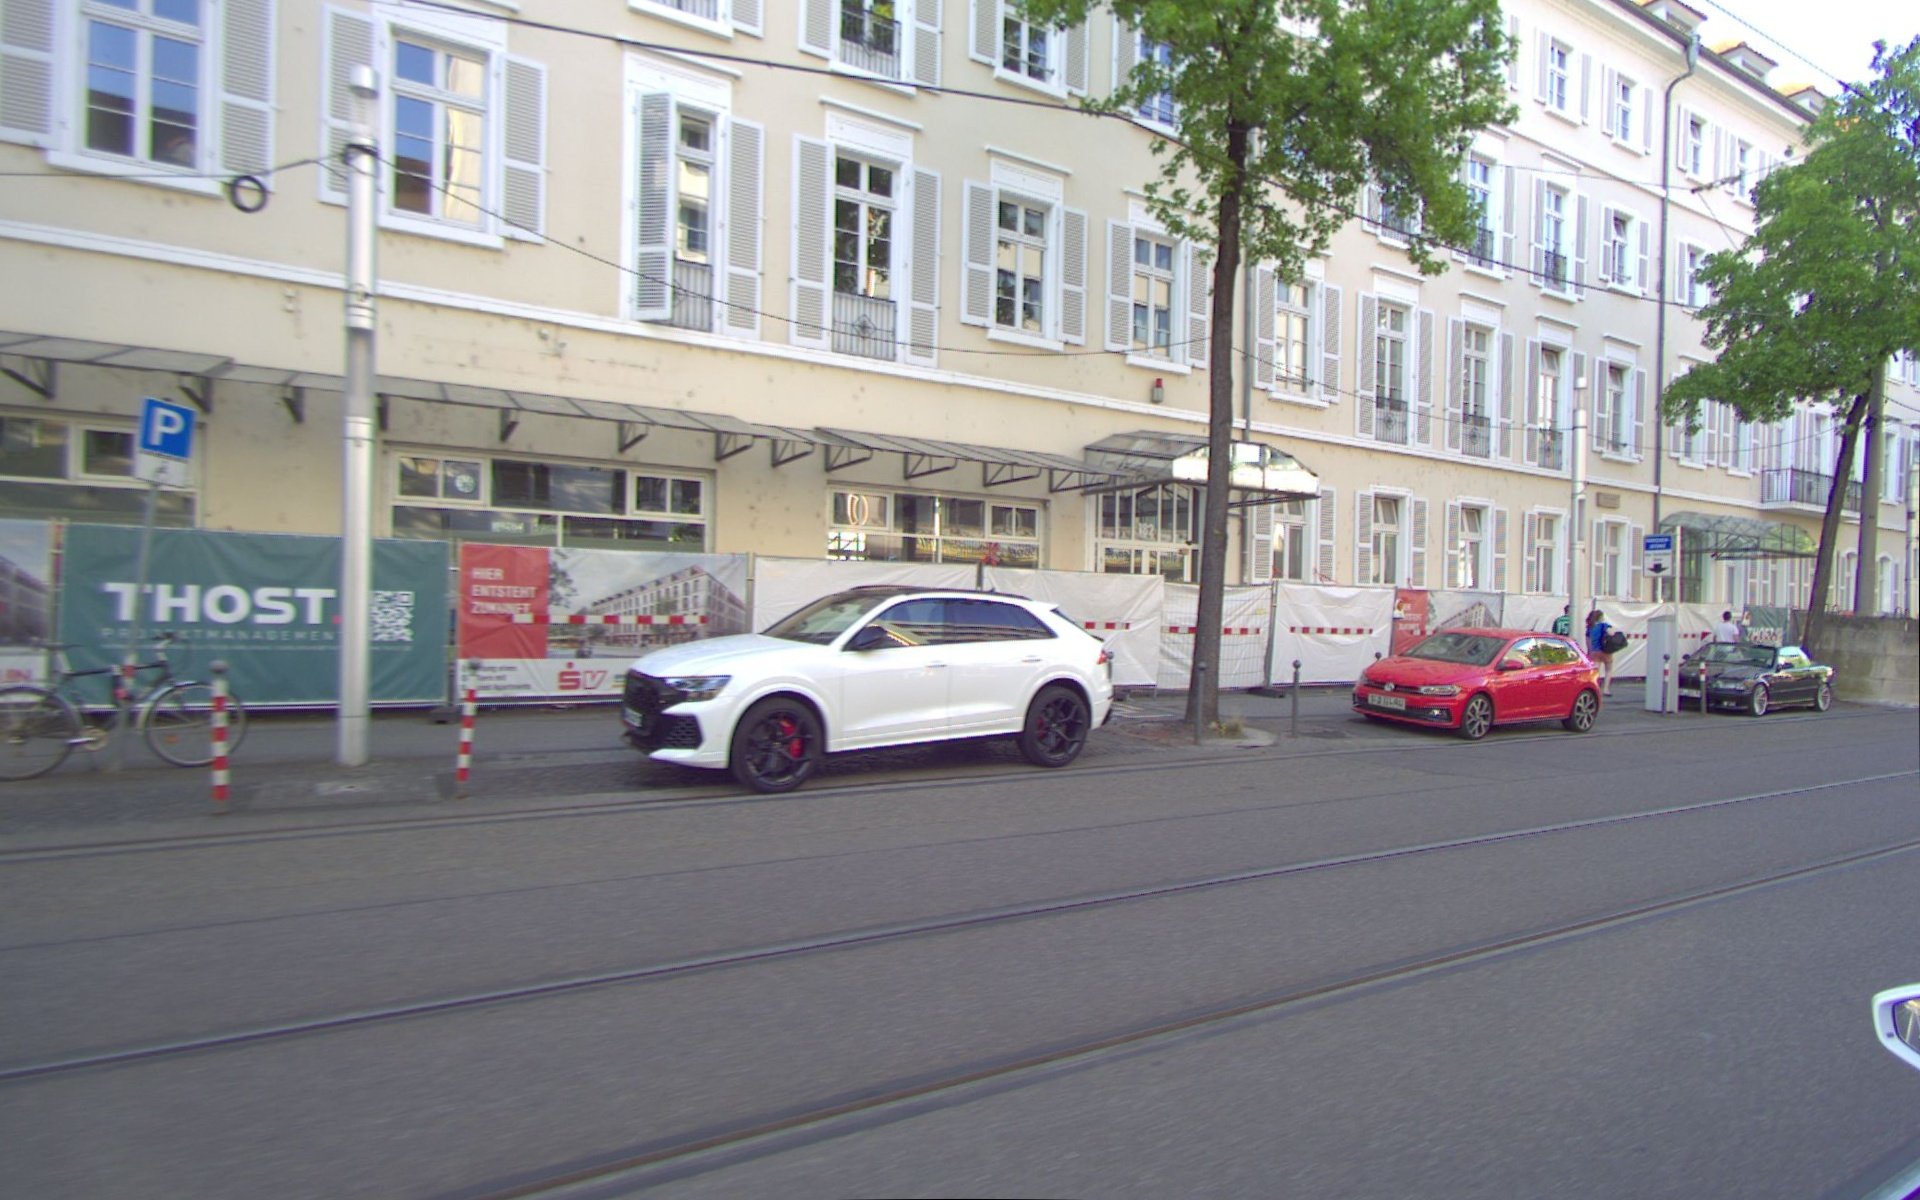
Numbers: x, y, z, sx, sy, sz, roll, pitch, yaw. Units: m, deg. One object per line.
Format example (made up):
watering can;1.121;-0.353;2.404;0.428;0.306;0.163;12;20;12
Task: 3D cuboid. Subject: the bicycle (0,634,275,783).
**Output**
bicycle;-6.658;0.815;7.962;1.990;1.064;0.589;2;-1;-37

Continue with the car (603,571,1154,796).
car;-0.694;0.703;9.743;4.952;1.714;1.953;2;0;-29

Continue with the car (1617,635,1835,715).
car;14.756;1.381;19.329;3.953;1.309;1.984;2;0;-30

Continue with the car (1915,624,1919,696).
car;26.159;1.566;25.539;3.120;1.820;1.550;1;0;-22

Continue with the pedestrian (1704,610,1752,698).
pedestrian;18.260;1.268;23.885;0.668;2.031;0.703;1;0;-33

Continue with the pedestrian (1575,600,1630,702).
pedestrian;13.121;1.025;20.520;0.668;2.031;0.703;1;0;-33

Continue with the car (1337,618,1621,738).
car;7.697;1.090;14.831;4.182;1.519;1.681;2;0;-29

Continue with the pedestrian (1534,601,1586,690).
pedestrian;12.677;0.948;21.221;0.669;1.830;0.703;1;0;-35
